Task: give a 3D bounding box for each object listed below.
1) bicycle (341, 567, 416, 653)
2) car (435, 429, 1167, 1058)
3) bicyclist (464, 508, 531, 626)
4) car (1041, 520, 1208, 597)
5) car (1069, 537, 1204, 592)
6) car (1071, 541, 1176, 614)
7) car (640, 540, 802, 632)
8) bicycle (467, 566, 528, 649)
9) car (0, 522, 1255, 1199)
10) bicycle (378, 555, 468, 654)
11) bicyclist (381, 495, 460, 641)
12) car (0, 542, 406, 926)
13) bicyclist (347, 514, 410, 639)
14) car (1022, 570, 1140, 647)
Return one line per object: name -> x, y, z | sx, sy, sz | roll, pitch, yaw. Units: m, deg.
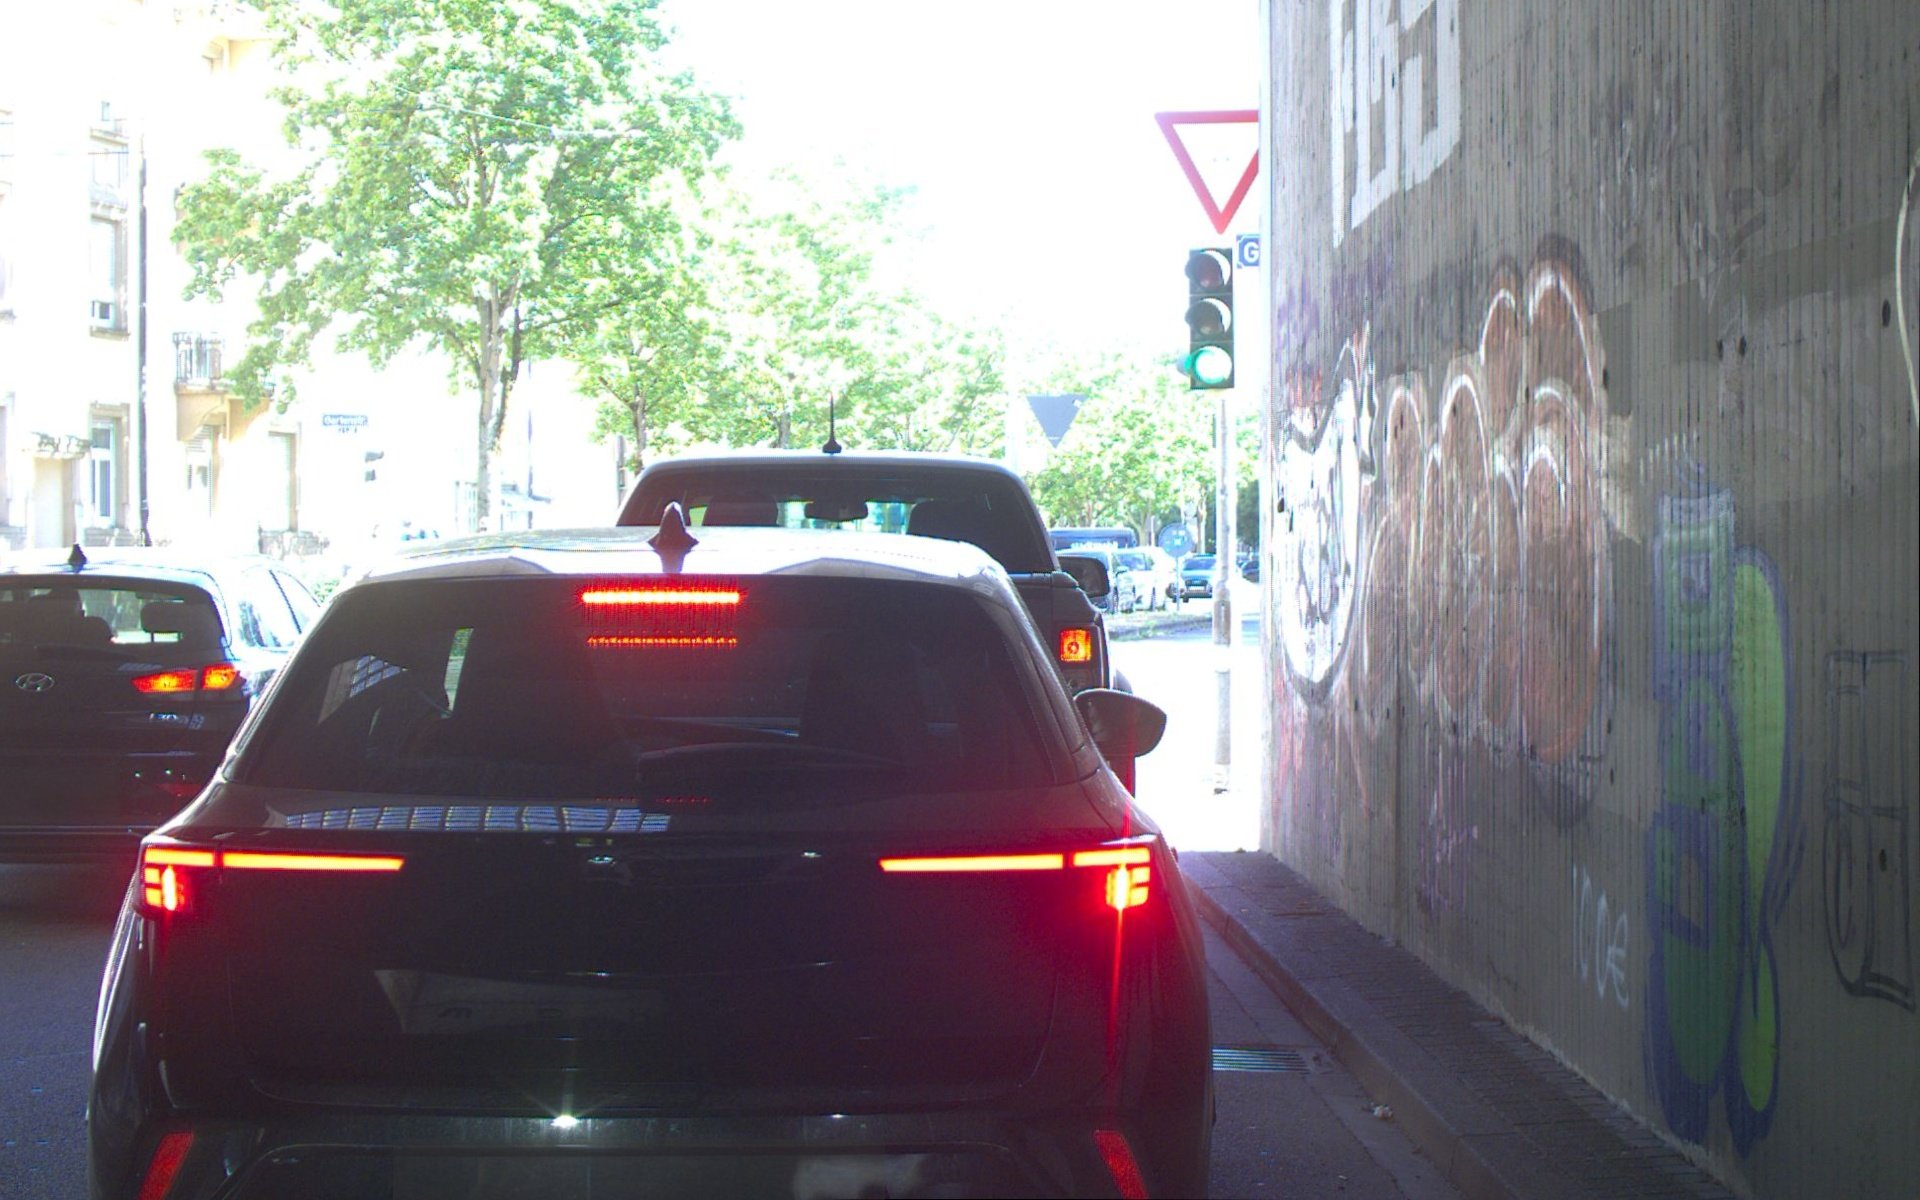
bicycle -> -7.625, 0.121, 45.116 | 0.525, 1.086, 1.860 | 0, 1, 5
car -> -0.488, 0.376, 12.526 | 2.133, 1.829, 4.941 | 0, 1, -1
bicyclist -> -6.546, -0.476, 48.727 | 0.782, 1.654, 1.031 | 0, 1, 1
car -> 5.545, -1.409, 116.193 | 5.259, 2.537, 1.986 | -1, 0, -15
car -> 6.884, -1.379, 134.078 | 4.883, 2.076, 1.986 | -1, 0, -25
car -> 3.583, -0.508, 74.786 | 1.705, 1.507, 3.861 | -2, 1, 11
car -> -3.864, -0.253, 56.066 | 1.658, 1.436, 3.461 | 0, 1, 14
bicycle -> -6.556, 0.094, 48.781 | 0.541, 1.119, 2.058 | 0, 1, 1
car -> -0.500, 0.619, 6.760 | 1.781, 1.512, 3.756 | 0, 1, -1
bicycle -> -6.439, 0.037, 41.278 | 0.698, 1.086, 1.860 | 0, 3, 3
bicyclist -> -6.453, -0.397, 41.134 | 0.745, 1.705, 0.967 | 0, 3, 2
car -> -3.617, 0.477, 15.239 | 1.801, 1.446, 4.327 | 0, 1, -3
bicyclist -> -7.634, -0.316, 45.188 | 0.606, 1.627, 0.910 | 0, 1, 4
car -> 2.418, 0.141, 67.923 | 1.708, 1.447, 3.849 | 0, 1, 12
